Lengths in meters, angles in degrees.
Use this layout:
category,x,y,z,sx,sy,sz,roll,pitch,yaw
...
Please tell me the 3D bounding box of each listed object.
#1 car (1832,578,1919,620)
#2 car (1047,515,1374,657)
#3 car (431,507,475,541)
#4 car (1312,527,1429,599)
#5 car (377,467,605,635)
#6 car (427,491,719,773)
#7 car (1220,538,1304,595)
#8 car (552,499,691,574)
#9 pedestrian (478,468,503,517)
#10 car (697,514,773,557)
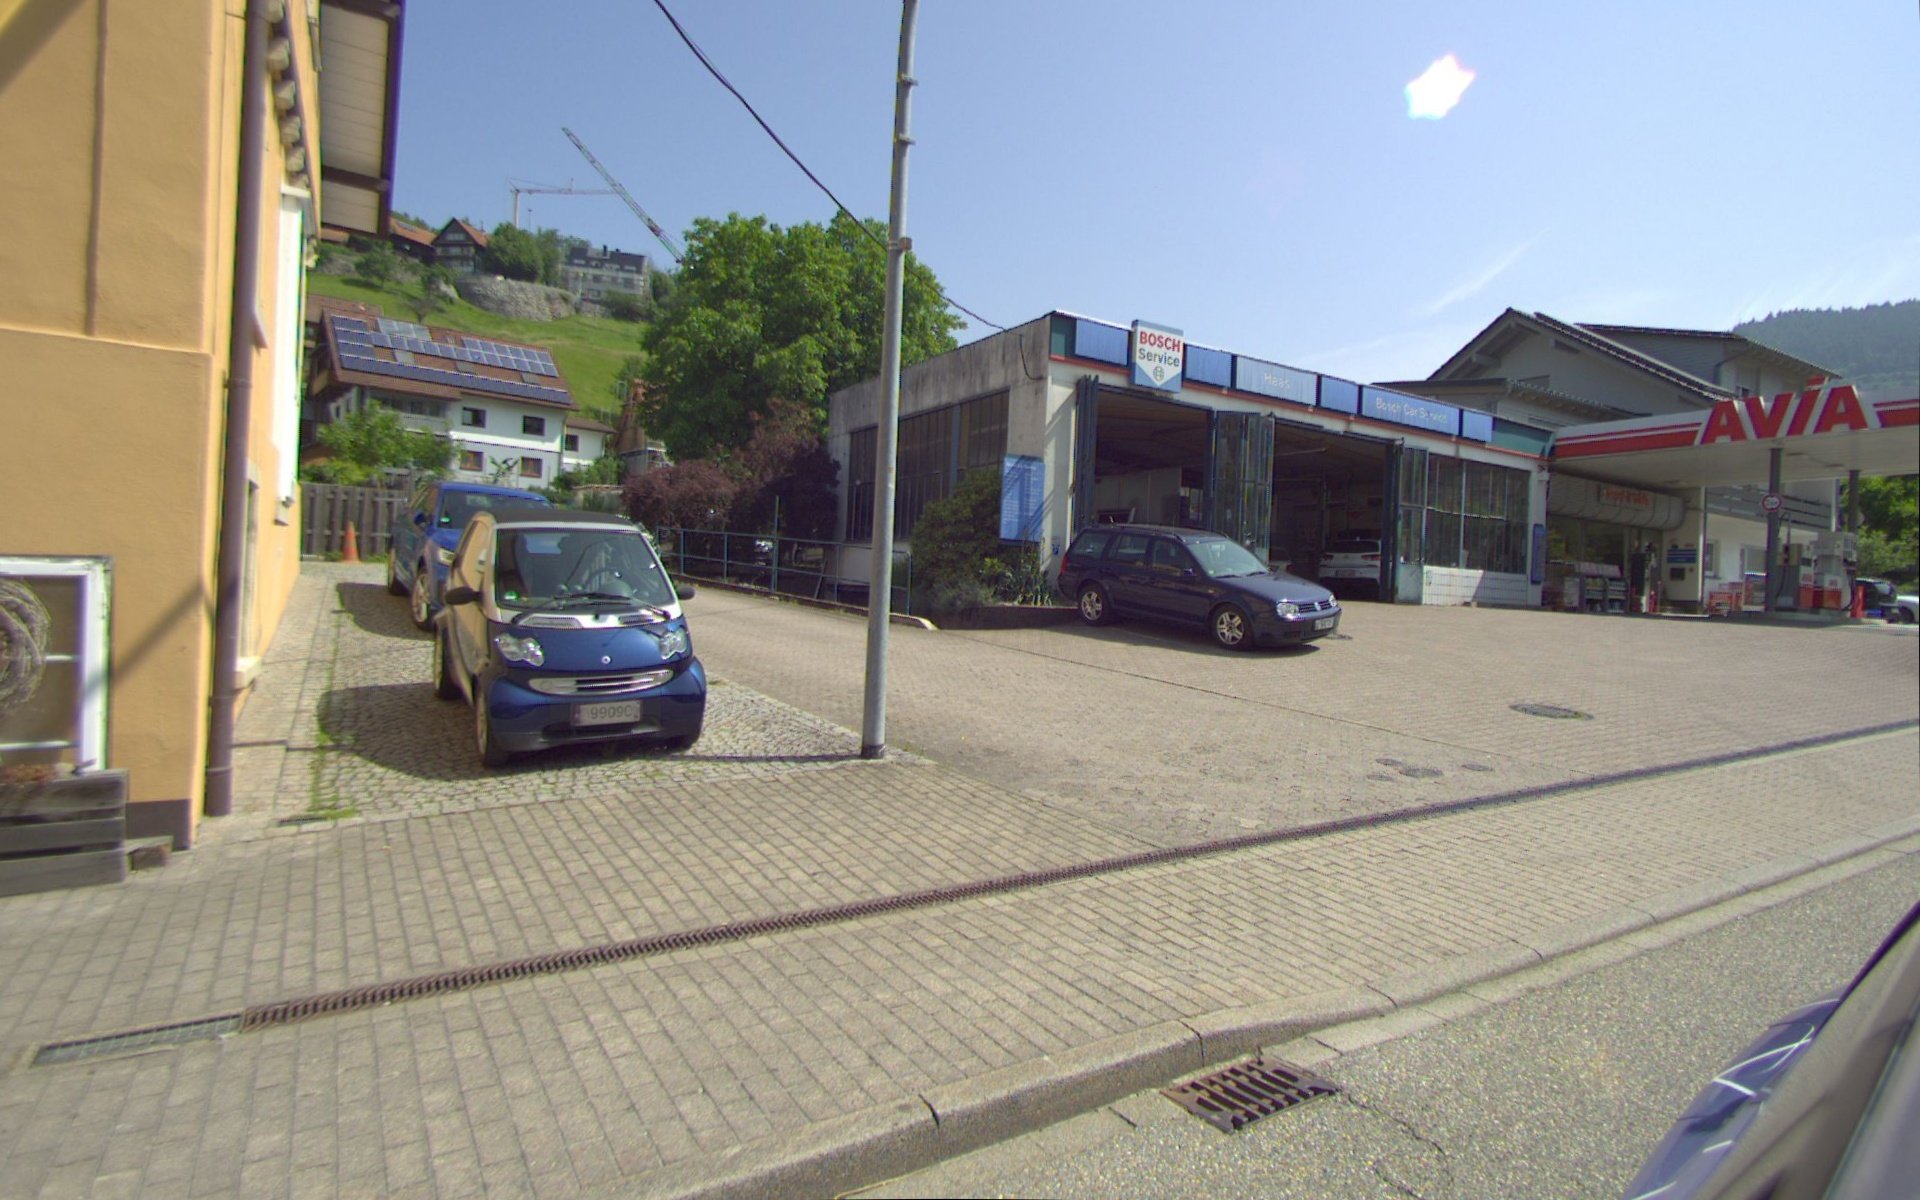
category,x,y,z,sx,sy,sz,roll,pitch,yaw
car,30.725,-0.018,33.061,1.309,1.157,3.088,-1,6,-32
car,3.423,-0.339,14.607,1.768,1.562,4.330,-3,8,-40
car,-23.447,-3.528,46.783,1.320,1.386,3.216,-1,6,-36
car,10.894,-1.022,26.757,1.600,1.707,3.873,7,7,41
car,-5.685,-0.678,11.996,1.702,1.644,3.938,0,6,-36
car,-2.961,0.067,7.460,1.398,1.553,2.666,-1,8,-35
car,8.543,-0.915,28.871,1.521,1.423,3.474,3,1,5
car,-8.909,-1.713,26.377,1.963,1.663,4.879,-1,7,-37
pedestrian,-24.443,-5.603,52.707,0.819,2.459,0.821,5,5,26
car,-9.546,-2.736,42.817,1.649,1.573,3.913,-1,7,-37
